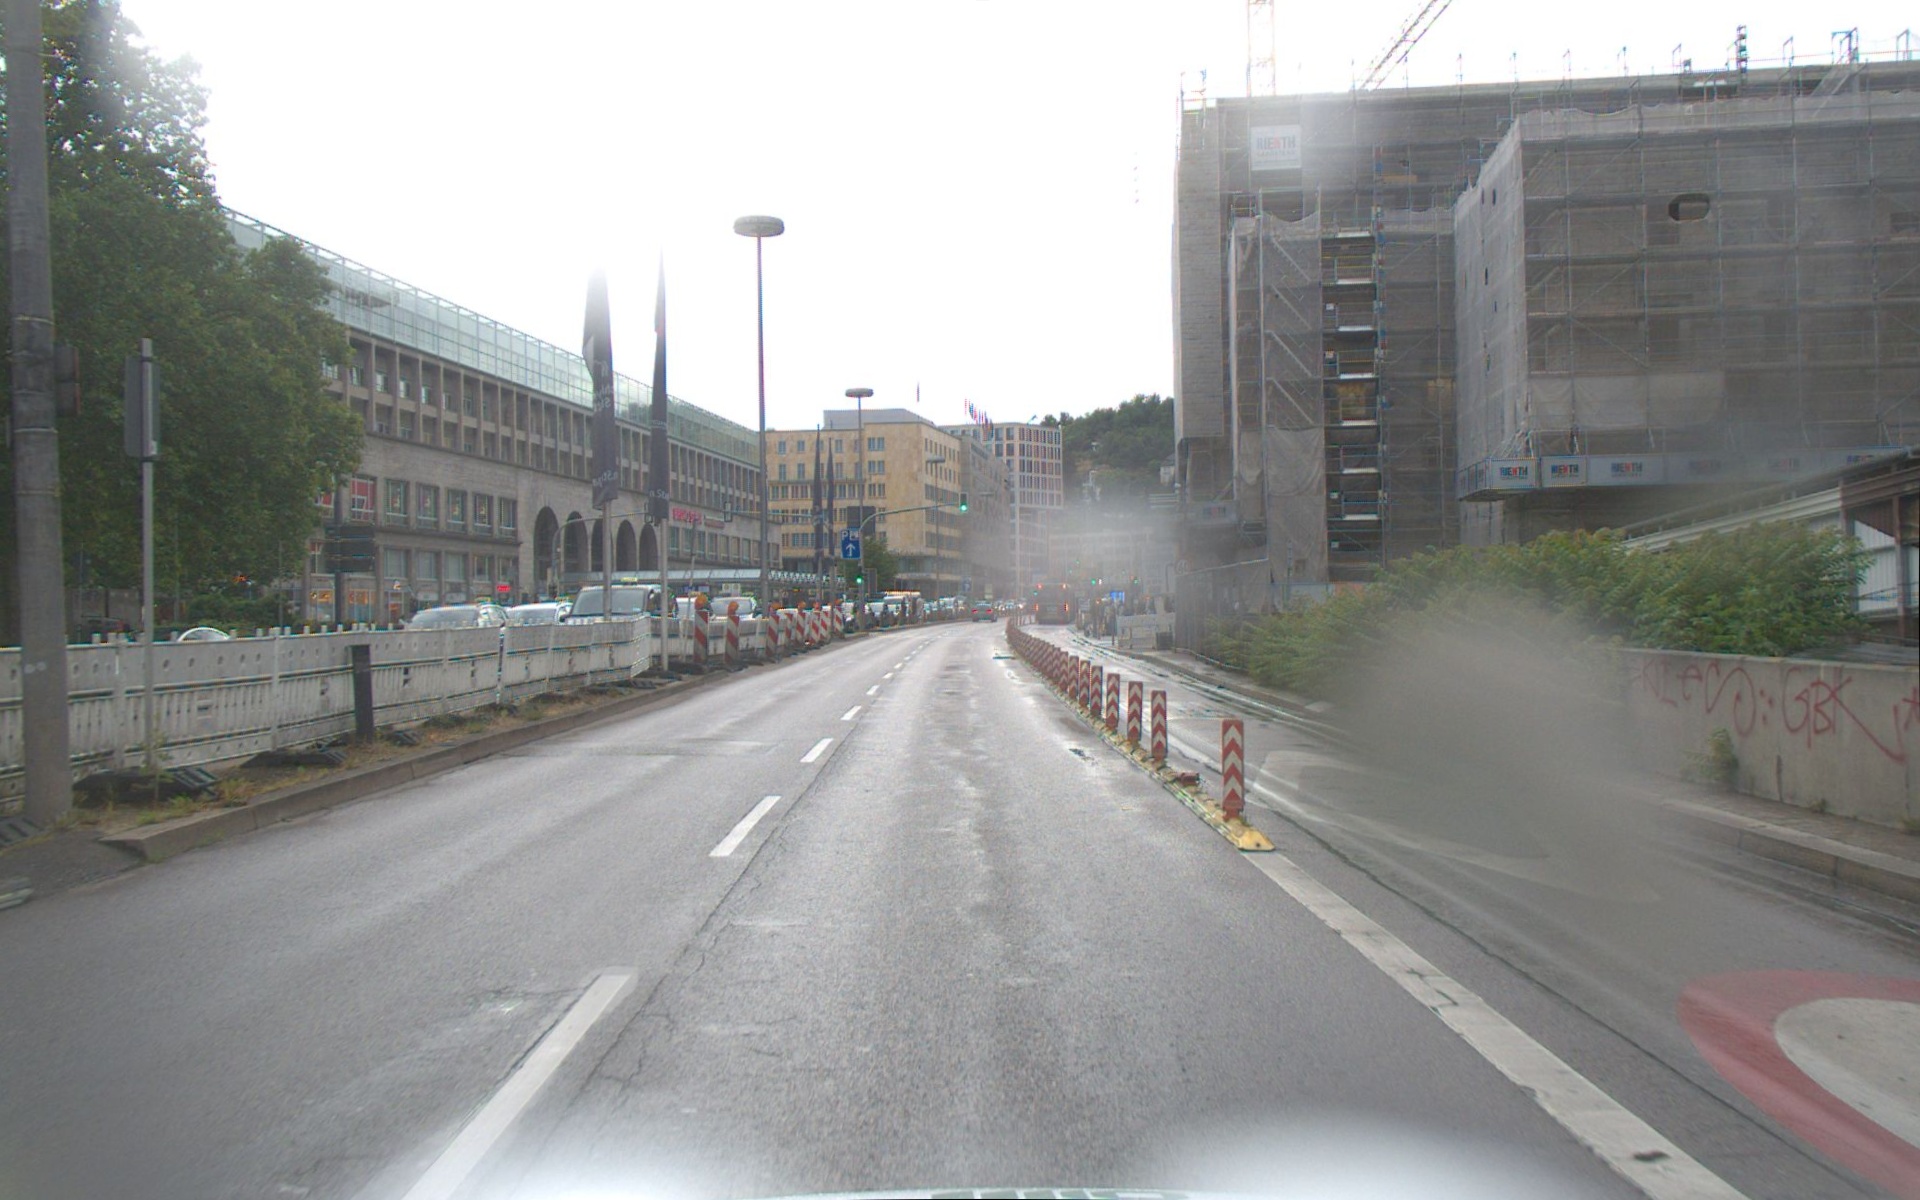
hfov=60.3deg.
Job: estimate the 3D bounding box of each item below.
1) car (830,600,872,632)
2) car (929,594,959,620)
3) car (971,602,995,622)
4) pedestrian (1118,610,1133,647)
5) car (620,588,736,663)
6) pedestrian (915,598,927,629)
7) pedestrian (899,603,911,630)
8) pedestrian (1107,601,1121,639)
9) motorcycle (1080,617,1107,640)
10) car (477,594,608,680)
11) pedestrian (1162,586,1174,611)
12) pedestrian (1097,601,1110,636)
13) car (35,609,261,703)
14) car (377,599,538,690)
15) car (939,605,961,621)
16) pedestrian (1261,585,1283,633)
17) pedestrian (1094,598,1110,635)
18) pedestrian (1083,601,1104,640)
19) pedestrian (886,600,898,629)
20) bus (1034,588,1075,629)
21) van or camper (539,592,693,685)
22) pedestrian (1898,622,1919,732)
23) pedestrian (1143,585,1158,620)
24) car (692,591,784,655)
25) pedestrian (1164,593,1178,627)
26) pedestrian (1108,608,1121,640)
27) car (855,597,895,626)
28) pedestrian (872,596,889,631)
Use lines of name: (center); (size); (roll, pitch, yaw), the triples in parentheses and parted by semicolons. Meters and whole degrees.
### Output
car: (-6.243, 0.888, 95.308); (1.863, 1.729, 4.502); (0, 1, 3)
car: (-1.397, 0.638, 149.077); (1.951, 2.217, 5.548); (-2, 0, 7)
car: (1.895, 0.983, 135.495); (1.952, 1.579, 4.000); (-2, 0, 1)
pedestrian: (7.696, 1.324, 76.867); (0.546, 1.679, 0.615); (-4, 0, 7)
car: (-7.452, 0.631, 44.194); (1.952, 1.801, 4.813); (-2, 1, 3)
pedestrian: (-2.575, 0.861, 108.835); (0.707, 2.043, 0.773); (0, 0, 6)
pedestrian: (-3.619, 1.085, 109.014); (0.684, 1.785, 0.712); (-1, 0, 6)
pedestrian: (7.418, 0.941, 79.770); (0.546, 1.782, 0.712); (-4, 0, 7)
motorcycle: (6.285, 1.338, 77.852); (0.580, 1.039, 1.223); (-1, 0, -37)
car: (-10.468, 0.888, 41.857); (1.875, 1.883, 4.568); (4, 1, 2)
pedestrian: (13.394, -0.129, 106.628); (0.637, 1.566, 0.666); (-4, 0, 7)
pedestrian: (7.072, 0.909, 81.511); (0.546, 1.669, 0.752); (-4, 0, 7)
car: (-16.127, 1.058, 33.175); (1.952, 1.660, 4.821); (0, 1, 3)
car: (-10.416, 0.864, 34.628); (1.851, 1.732, 4.303); (0, 1, 3)
car: (-0.986, 1.290, 167.334); (1.952, 1.579, 4.002); (-2, 0, 4)
pedestrian: (12.461, 0.360, 66.091); (0.658, 1.864, 1.014); (0, 0, -1)
pedestrian: (7.104, 0.820, 82.936); (0.547, 1.789, 0.751); (-4, 0, -8)
pedestrian: (6.269, 0.961, 77.864); (0.575, 1.771, 0.811); (-1, 0, -37)
pedestrian: (-4.041, 0.864, 98.231); (0.637, 1.741, 0.593); (0, 0, 4)
bus: (7.497, 0.678, 129.907); (2.697, 3.122, 9.086); (0, 0, 6)
van or camper: (-7.313, 0.765, 35.766); (1.904, 1.851, 5.394); (0, 0, 3)
pedestrian: (16.721, 1.320, 28.382); (0.658, 1.864, 1.014); (0, 0, -1)
pedestrian: (10.623, 0.152, 92.162); (0.707, 1.879, 0.811); (-4, 0, 6)
car: (-6.997, 0.690, 52.700); (1.952, 1.849, 4.813); (-2, 1, 3)
pedestrian: (10.296, 0.484, 80.869); (0.538, 1.660, 0.996); (-4, 0, 6)
pedestrian: (7.363, 1.145, 78.835); (0.546, 1.474, 0.712); (-4, 0, 7)
car: (-5.487, 0.726, 107.229); (1.889, 1.720, 4.685); (-3, 0, 5)
pedestrian: (-4.237, 0.743, 88.555); (0.767, 1.806, 0.606); (-4, 0, -6)
